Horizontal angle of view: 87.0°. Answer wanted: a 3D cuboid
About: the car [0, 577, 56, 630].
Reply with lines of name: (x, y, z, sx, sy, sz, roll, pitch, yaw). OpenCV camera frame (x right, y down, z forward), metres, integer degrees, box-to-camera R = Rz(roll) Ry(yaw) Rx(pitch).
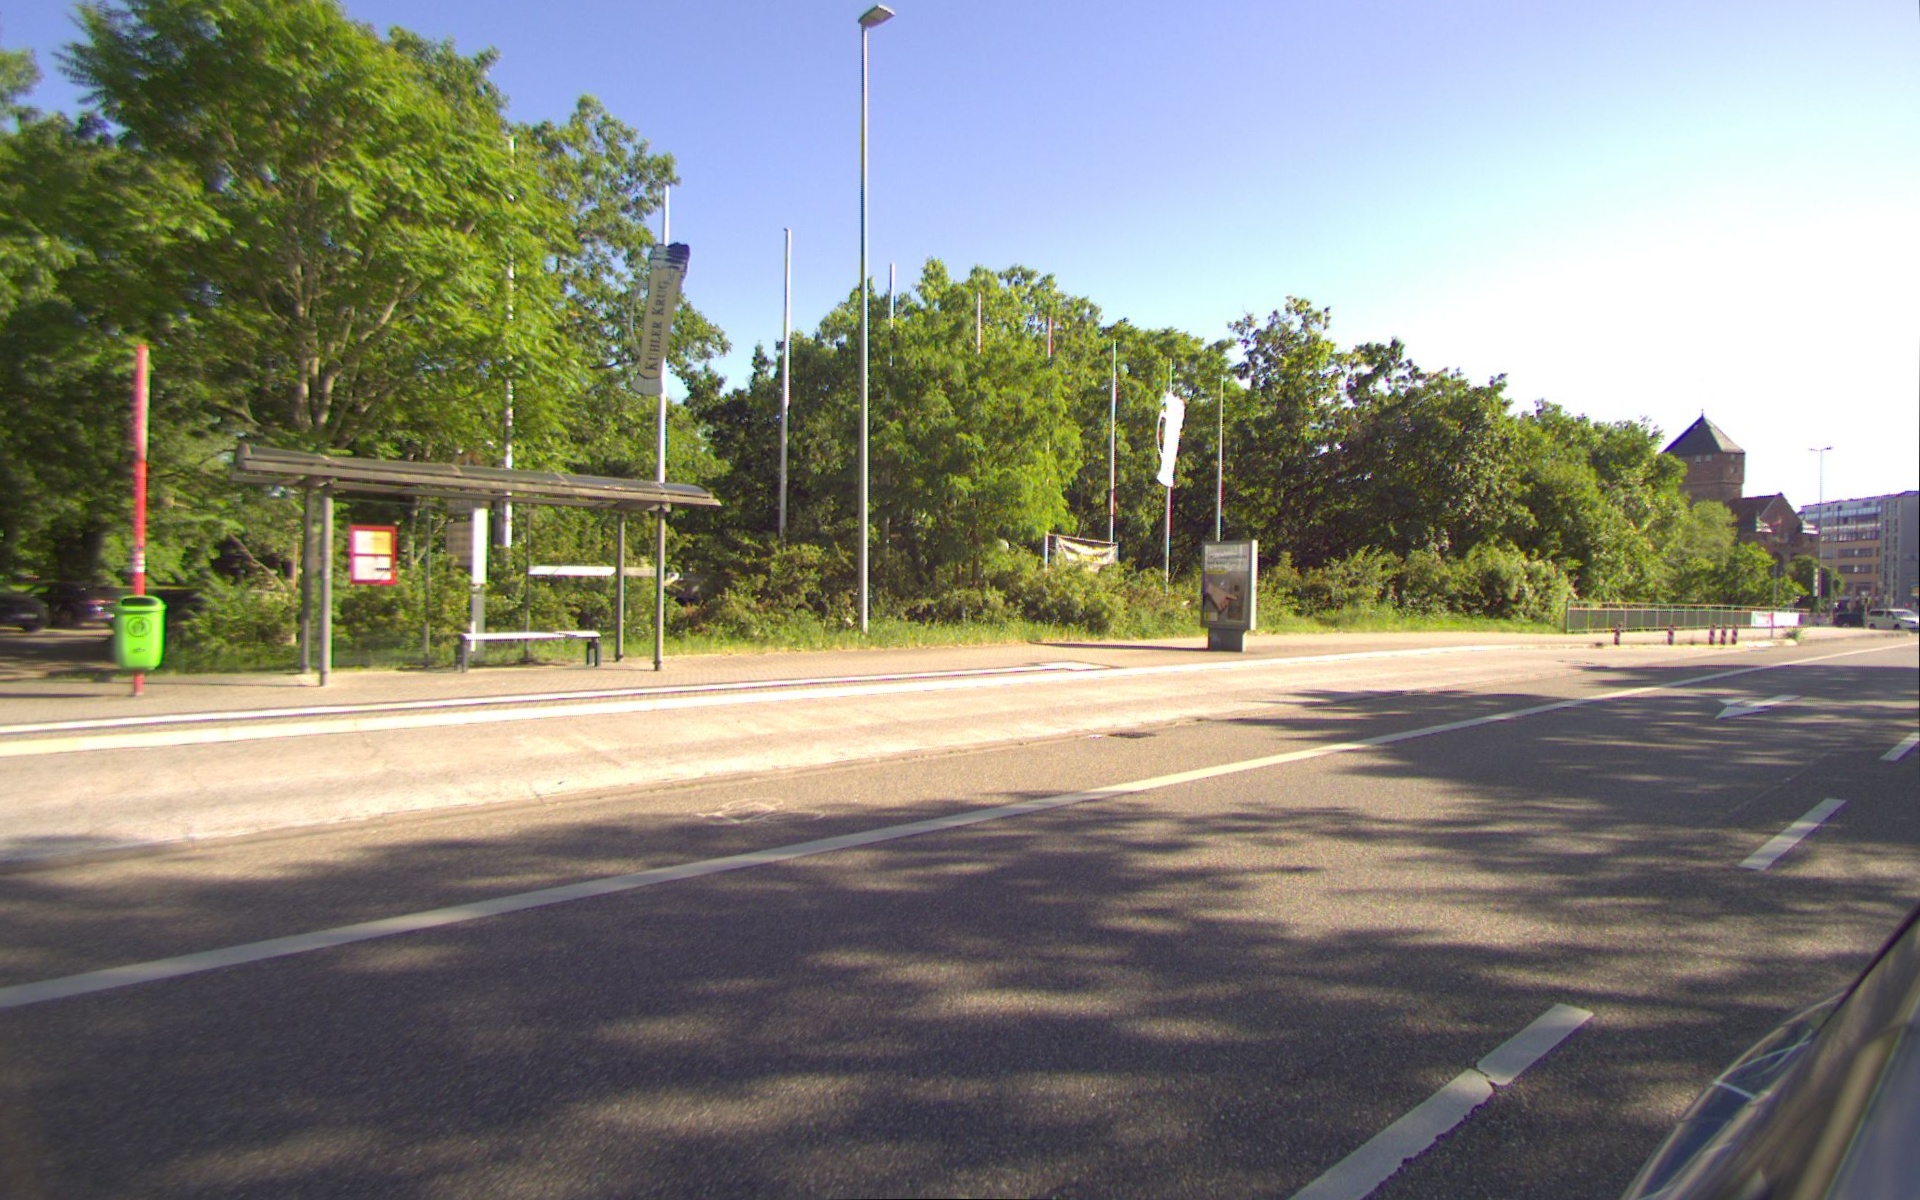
car: (-31.817, 0.056, 32.642, 3.937, 1.621, 1.994, 2, 1, 11)

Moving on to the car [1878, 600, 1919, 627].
car: (72.775, 1.036, 77.417, 1.717, 1.568, 3.988, 6, -5, 7)

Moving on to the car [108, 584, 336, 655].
car: (-19.458, 0.561, 26.864, 4.690, 1.709, 1.756, 3, -2, -39)

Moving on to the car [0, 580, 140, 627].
car: (-31.325, 0.107, 35.540, 3.937, 1.467, 1.780, 2, 1, 11)

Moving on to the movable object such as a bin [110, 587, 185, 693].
movable object such as a bin: (-8.406, 0.394, 10.464, 0.568, 1.043, 0.728, 0, 1, -41)
